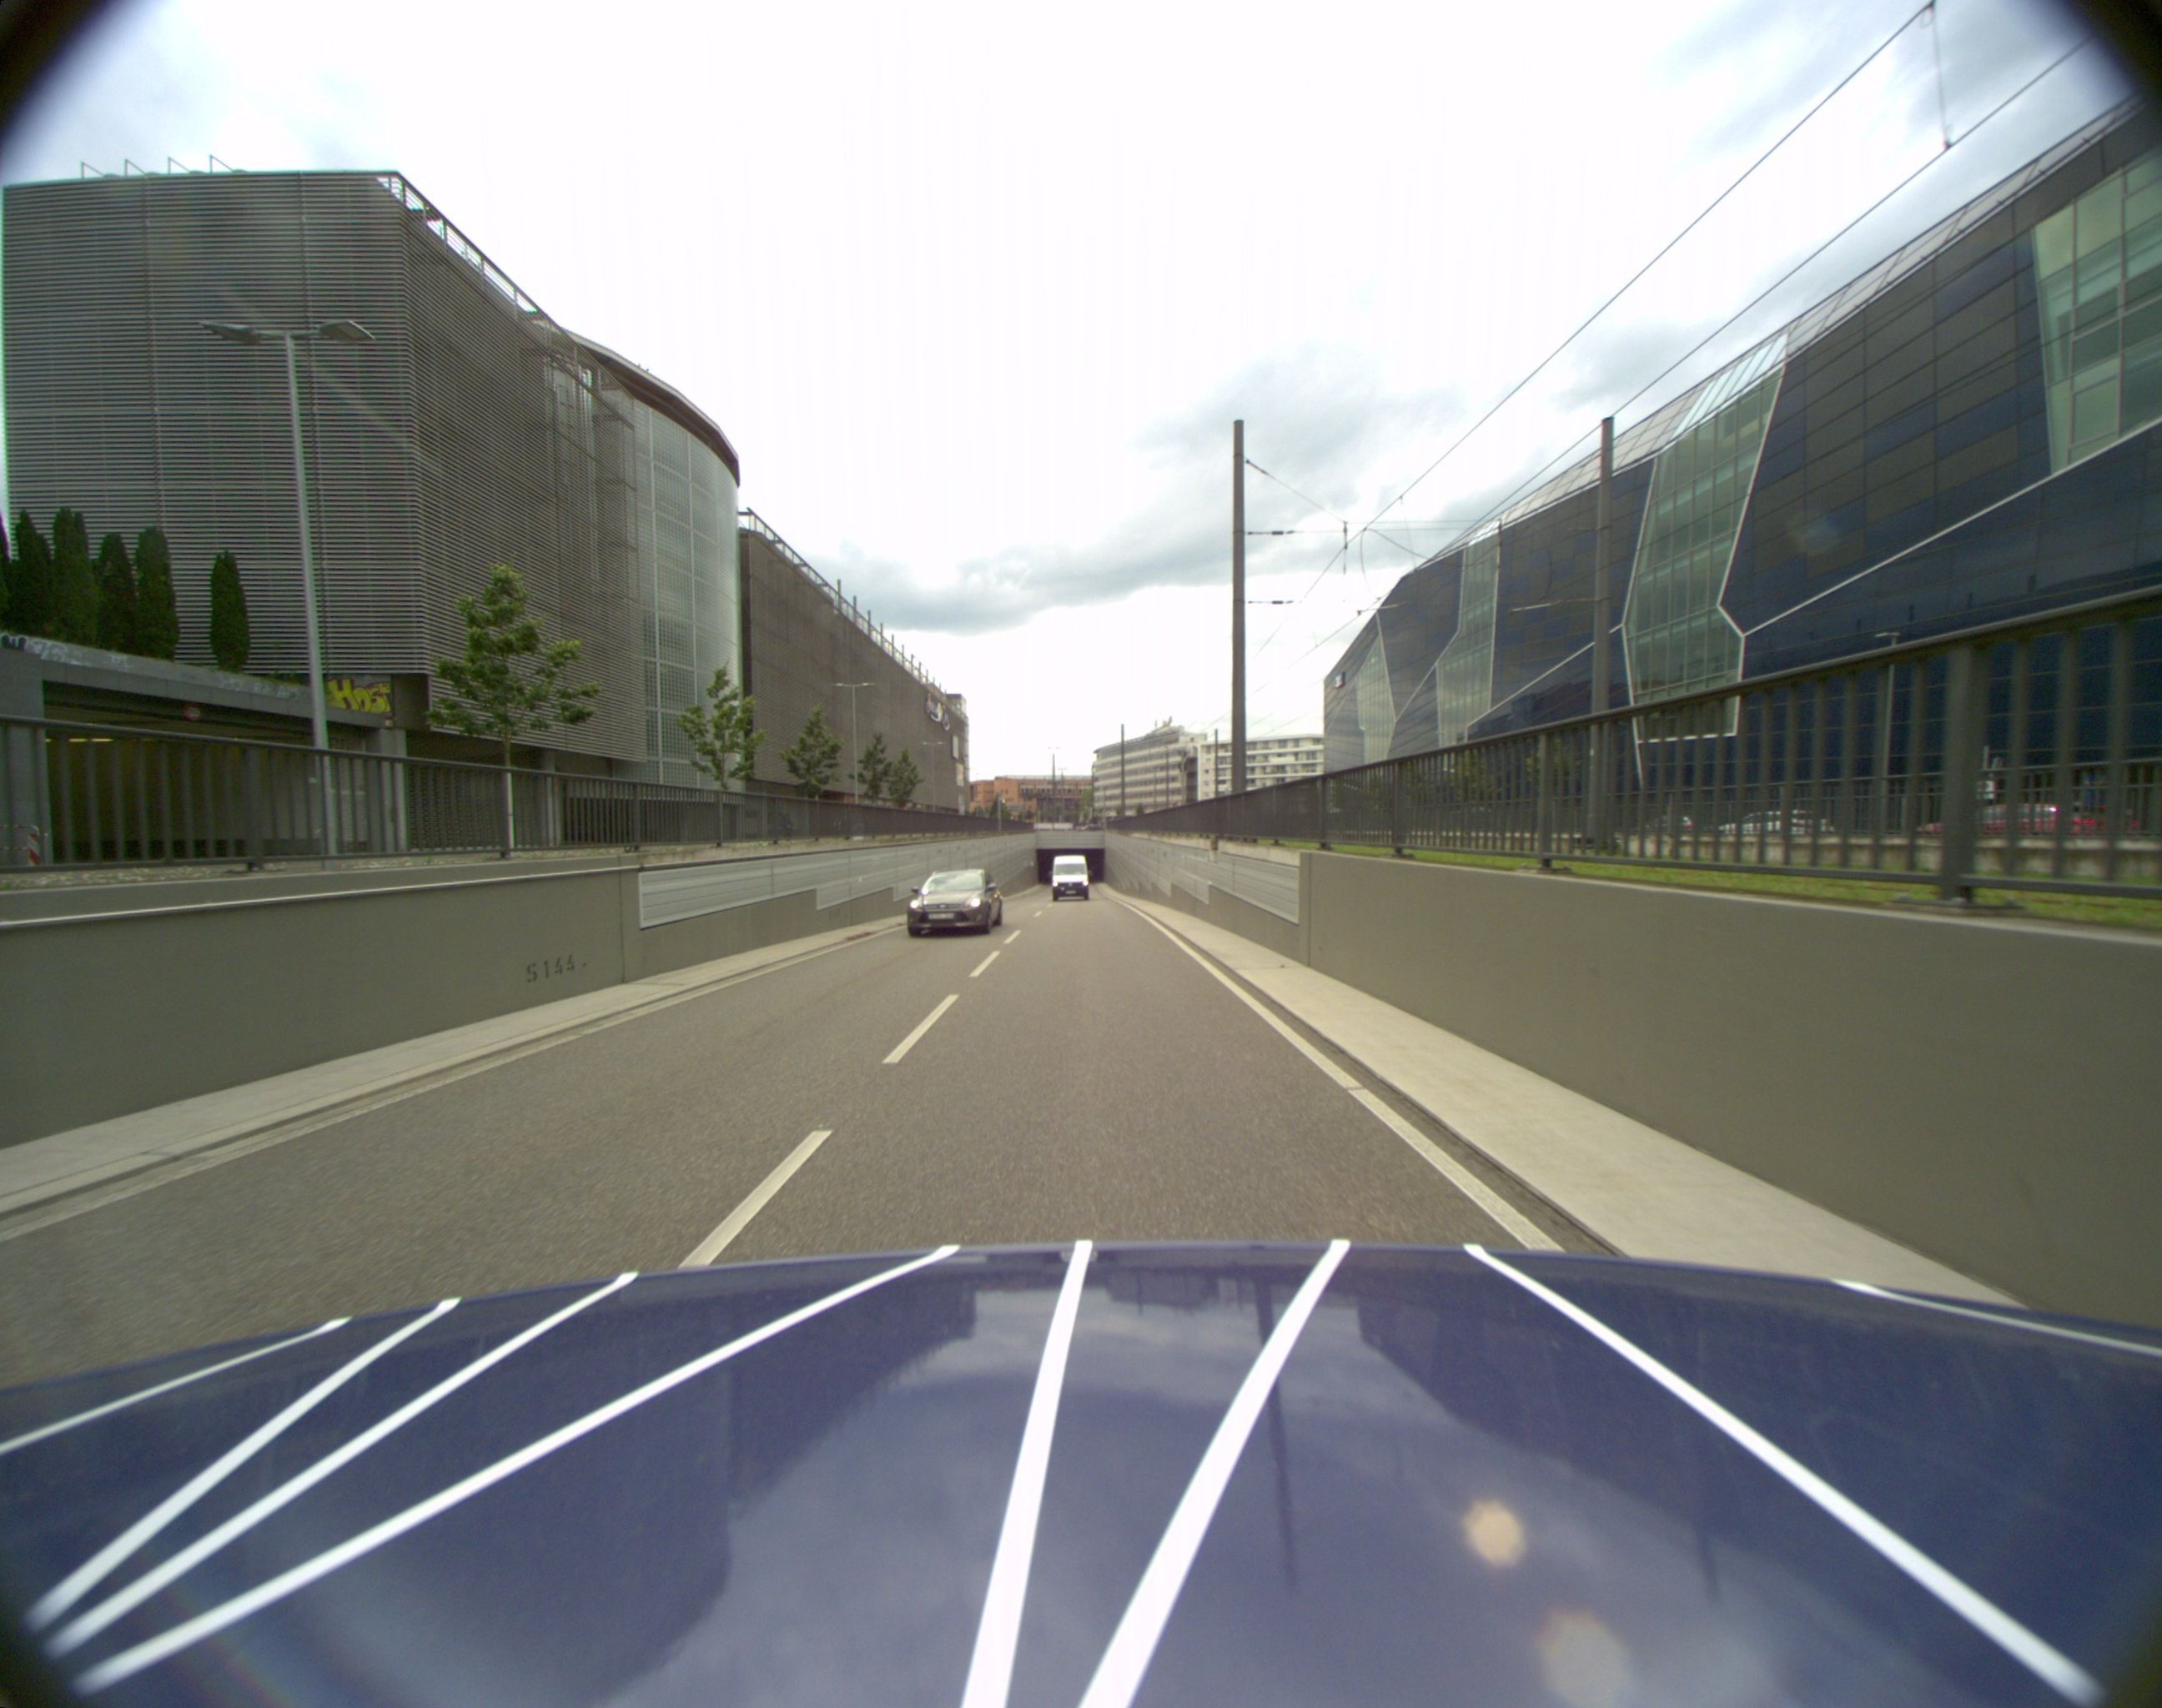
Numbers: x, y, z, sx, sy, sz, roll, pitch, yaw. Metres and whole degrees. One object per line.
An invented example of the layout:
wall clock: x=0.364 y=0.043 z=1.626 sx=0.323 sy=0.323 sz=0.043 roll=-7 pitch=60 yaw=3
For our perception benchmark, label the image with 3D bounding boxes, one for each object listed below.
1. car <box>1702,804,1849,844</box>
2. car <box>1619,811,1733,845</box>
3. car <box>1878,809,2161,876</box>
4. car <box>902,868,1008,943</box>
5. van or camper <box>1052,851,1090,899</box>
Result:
car: x=30.104 y=-1.237 z=33.187 sx=1.999 sy=1.583 sz=4.765 roll=-1 pitch=1 yaw=-1
car: x=30.043 y=-1.248 z=38.575 sx=1.999 sy=1.583 sz=4.765 roll=-1 pitch=1 yaw=-1
car: x=24.902 y=-0.303 z=20.468 sx=1.998 sy=1.583 sz=4.767 roll=-1 pitch=1 yaw=3
car: x=-2.864 y=1.126 z=18.177 sx=1.752 sy=1.490 sz=4.269 roll=-1 pitch=0 yaw=1
van or camper: x=-0.533 y=1.258 z=43.517 sx=2.043 sy=2.570 sz=5.043 roll=-1 pitch=-2 yaw=0
